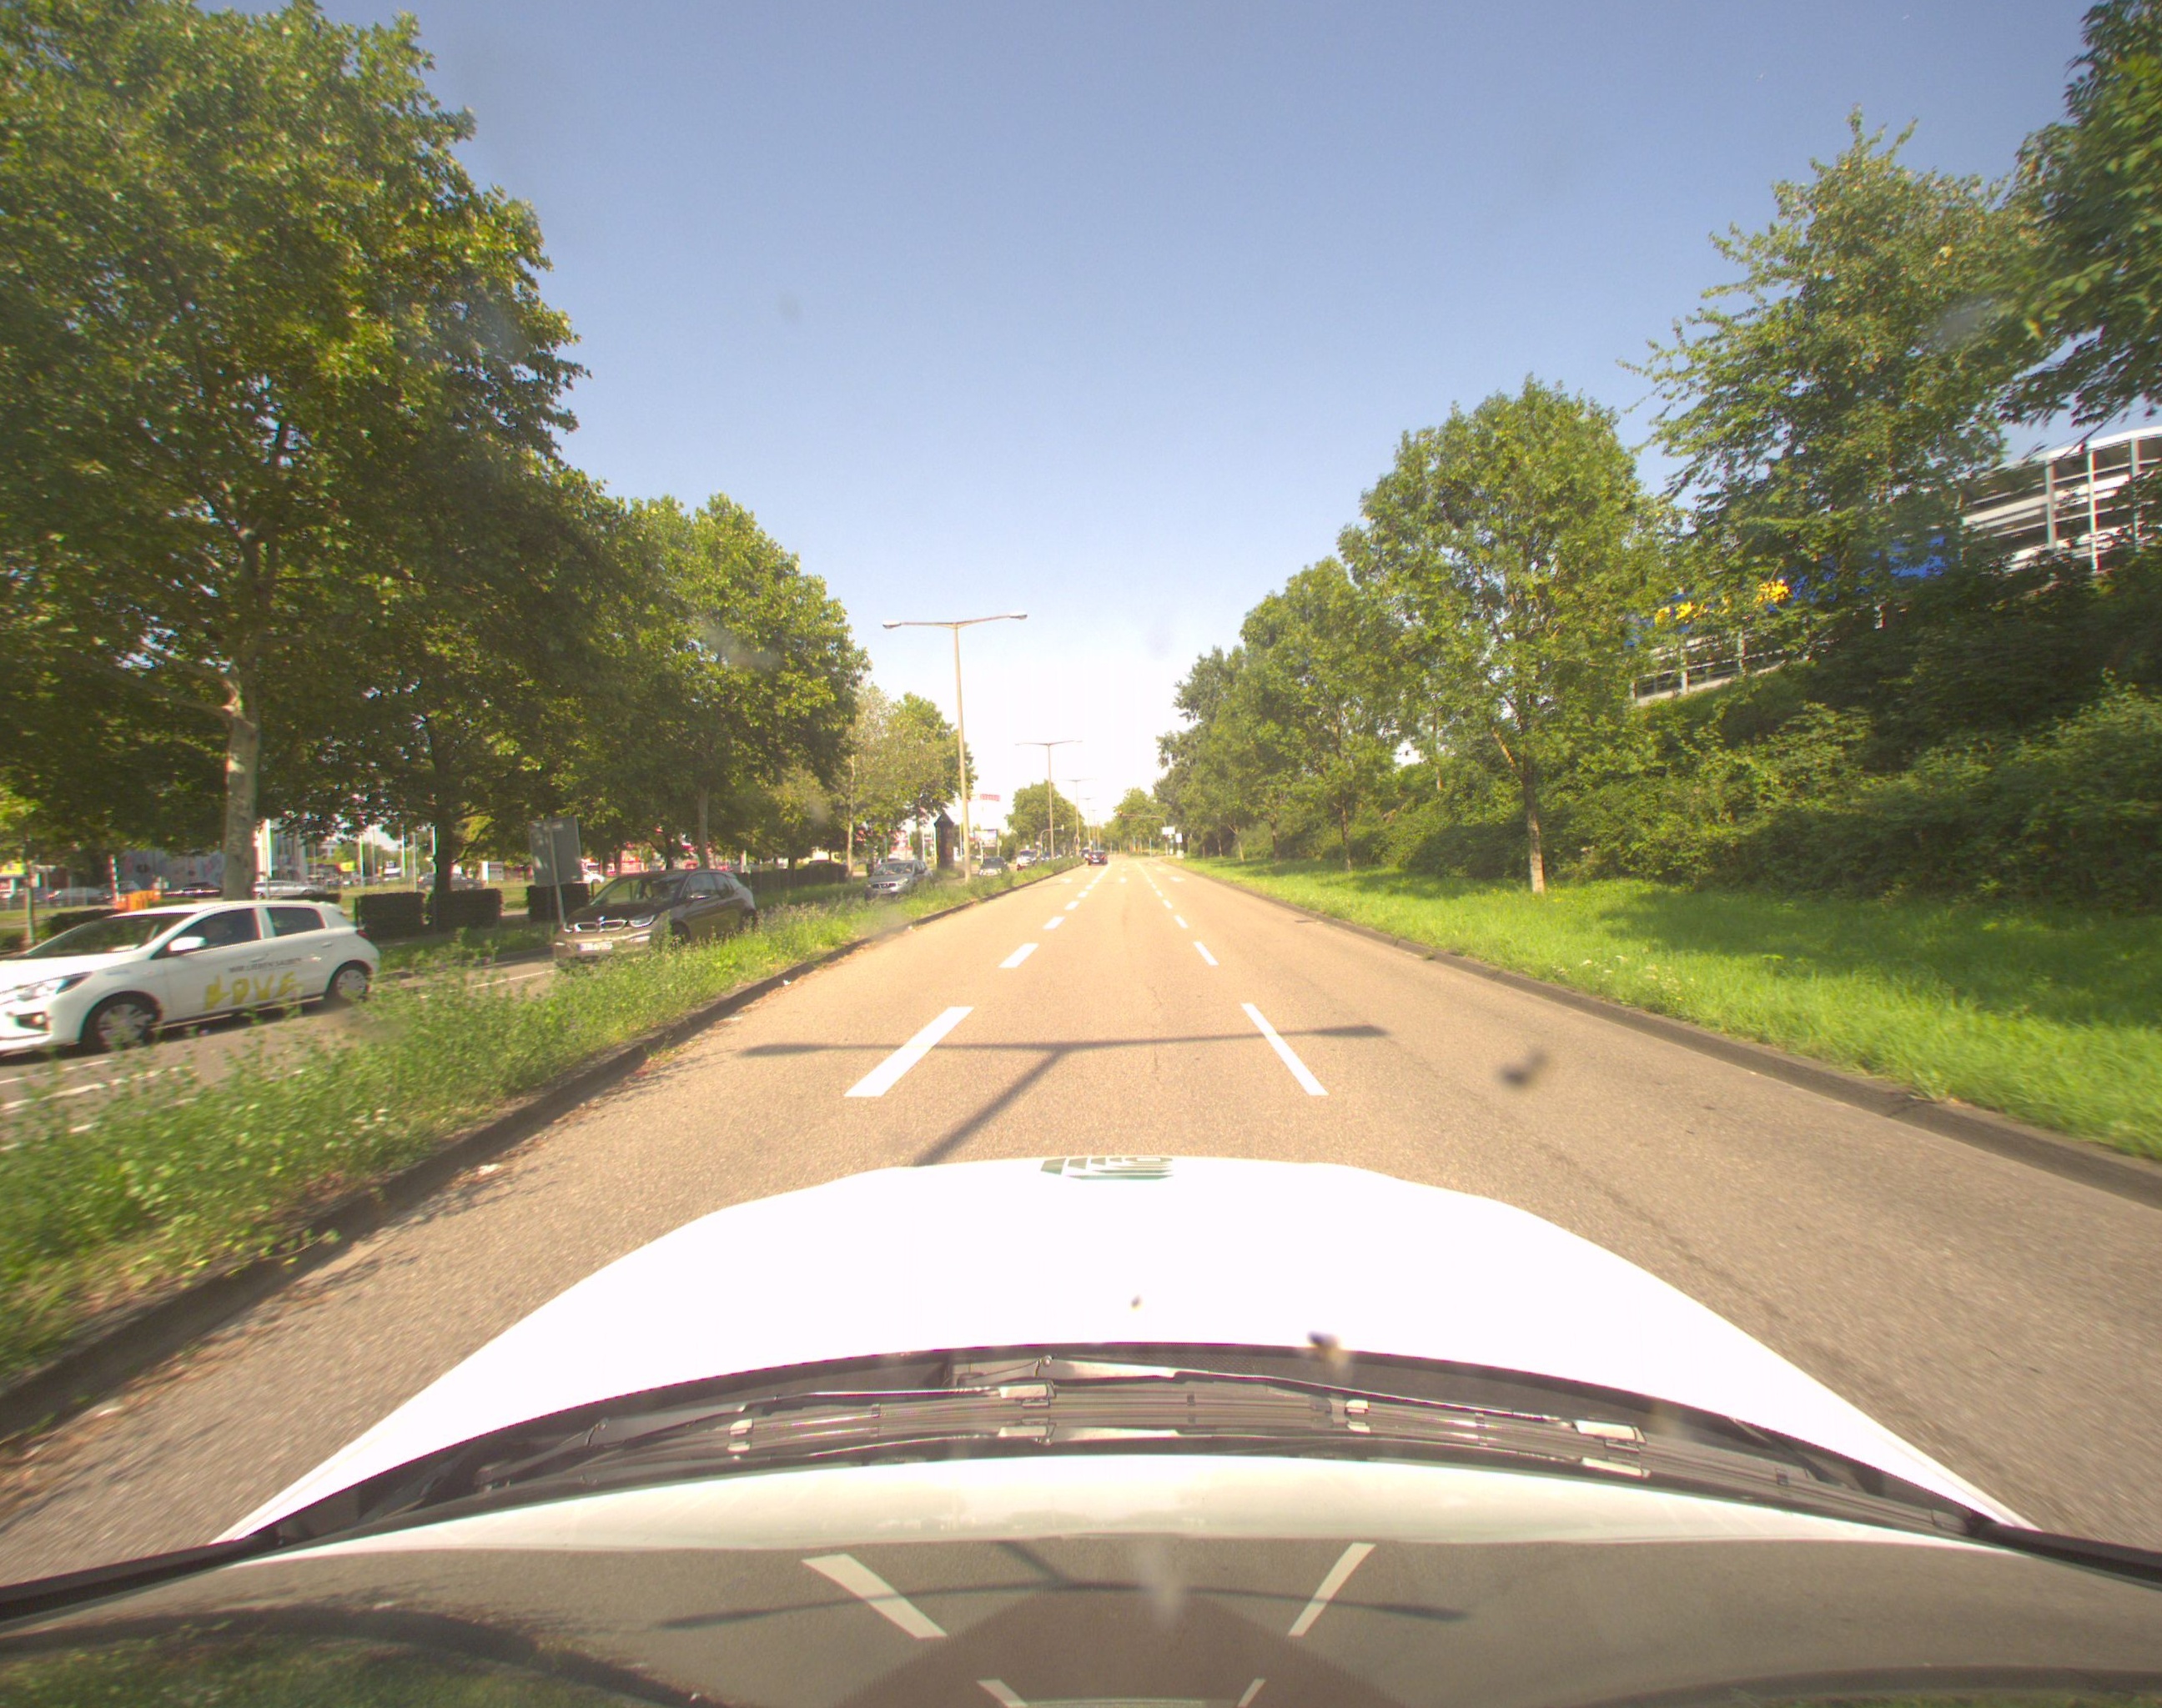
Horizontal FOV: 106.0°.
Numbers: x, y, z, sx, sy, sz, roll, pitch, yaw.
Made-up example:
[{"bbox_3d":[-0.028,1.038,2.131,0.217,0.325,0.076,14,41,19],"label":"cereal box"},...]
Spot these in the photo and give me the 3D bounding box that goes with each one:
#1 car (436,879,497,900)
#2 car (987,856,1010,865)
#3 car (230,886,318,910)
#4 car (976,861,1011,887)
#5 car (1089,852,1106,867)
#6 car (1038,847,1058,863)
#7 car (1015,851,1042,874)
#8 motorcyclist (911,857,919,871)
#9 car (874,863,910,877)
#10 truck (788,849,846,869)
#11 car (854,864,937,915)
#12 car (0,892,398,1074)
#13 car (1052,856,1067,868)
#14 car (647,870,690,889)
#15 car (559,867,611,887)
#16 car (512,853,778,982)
[{"bbox_3d":[-53.532,3.111,71.019,4.015,1.545,1.821,-3,0,-32],"label":"car"},{"bbox_3d":[-13.026,1.001,128.763,3.353,1.137,1.498,-3,0,11],"label":"car"},{"bbox_3d":[-63.169,3.406,63.853,4.610,1.545,1.849,-3,0,-36],"label":"car"},{"bbox_3d":[-5.444,1.211,51.090,1.670,1.486,3.494,-2,0,2],"label":"car"},{"bbox_3d":[1.723,0.551,84.305,1.685,1.486,4.003,-1,0,3],"label":"car"},{"bbox_3d":[-4.002,0.122,98.461,1.986,1.706,4.506,-5,0,2],"label":"car"},{"bbox_3d":[-4.809,0.751,75.005,1.924,2.027,4.569,-3,0,2],"label":"car"},{"bbox_3d":[-18.535,1.133,91.048,0.686,1.572,0.676,-1,-1,-33],"label":"motorcyclist"},{"bbox_3d":[-21.489,1.806,92.577,3.717,1.443,1.451,-1,0,-33],"label":"car"},{"bbox_3d":[-46.729,0.902,144.363,9.049,2.957,3.478,-3,0,-33],"label":"truck"},{"bbox_3d":[-6.708,1.243,29.908,1.872,1.594,4.111,-3,0,3],"label":"car"},{"bbox_3d":[-10.586,1.313,9.466,1.784,1.482,4.002,-3,0,2],"label":"car"},{"bbox_3d":[-3.022,1.167,116.450,1.765,1.574,4.004,-2,0,3],"label":"car"},{"bbox_3d":[-40.072,2.480,79.096,3.506,1.580,1.708,-3,0,-34],"label":"car"},{"bbox_3d":[-45.876,2.110,75.395,4.016,1.679,1.850,-1,0,-34],"label":"car"},{"bbox_3d":[-7.215,0.945,14.111,1.985,1.759,4.311,-4,0,3],"label":"car"}]
